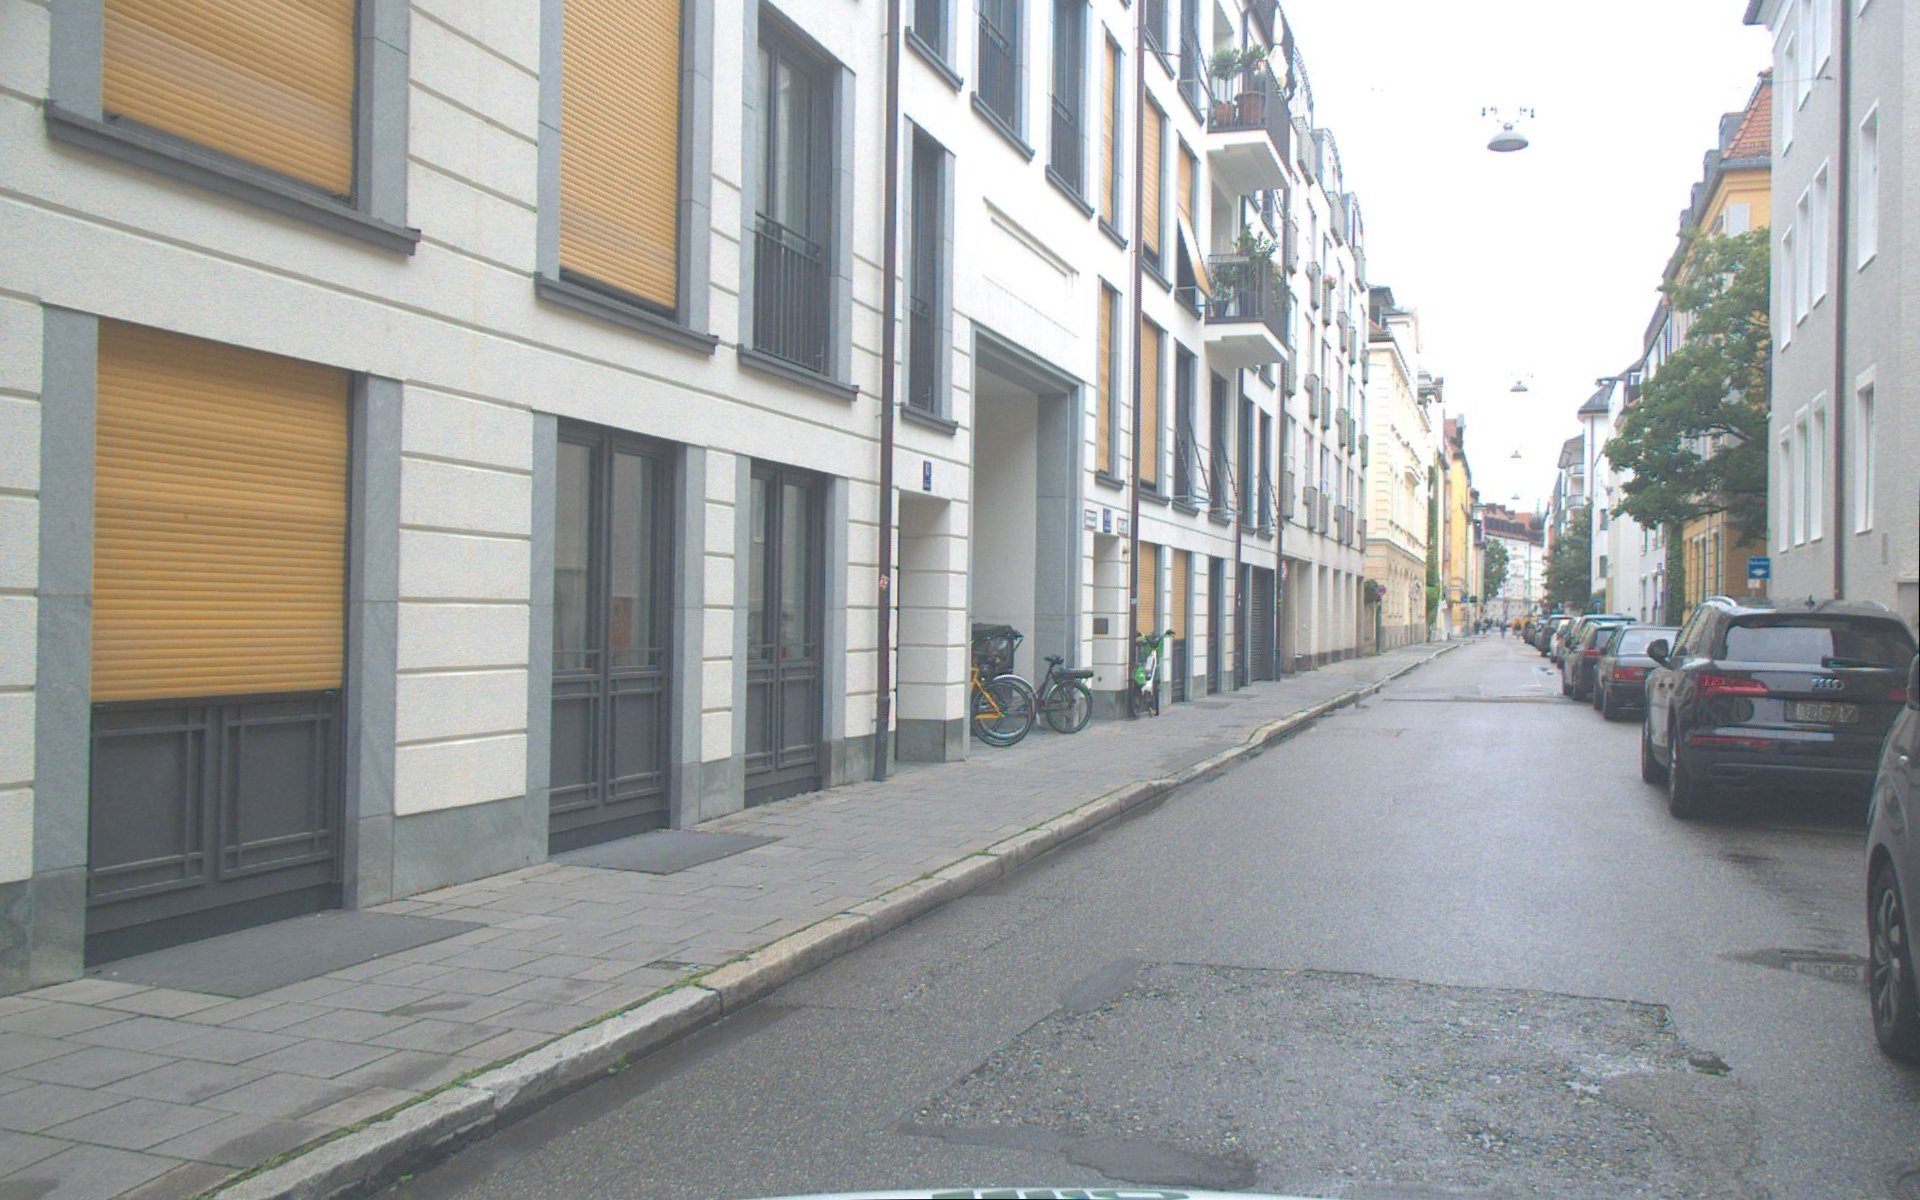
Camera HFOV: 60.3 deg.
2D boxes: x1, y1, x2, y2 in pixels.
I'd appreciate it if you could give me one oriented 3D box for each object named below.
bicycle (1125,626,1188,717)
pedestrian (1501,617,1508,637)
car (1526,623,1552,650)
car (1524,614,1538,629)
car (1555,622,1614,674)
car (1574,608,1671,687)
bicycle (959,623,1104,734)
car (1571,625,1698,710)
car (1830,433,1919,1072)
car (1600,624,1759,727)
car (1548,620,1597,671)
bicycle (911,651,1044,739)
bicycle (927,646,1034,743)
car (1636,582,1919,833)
[{"bbox_3d":[2.672,0.946,22.320,0.333,1.166,2.191,0,-2,20],"label":"bicycle"},{"bbox_3d":[46.351,2.308,140.841,0.527,1.683,0.377,0,-1,19],"label":"pedestrian"},{"bbox_3d":[42.957,2.685,122.792,1.665,1.950,3.775,1,0,18],"label":"car"},{"bbox_3d":[64.474,2.432,186.673,1.336,1.685,3.468,0,0,17],"label":"car"},{"bbox_3d":[21.073,1.587,55.886,1.665,1.652,3.775,1,0,18],"label":"car"},{"bbox_3d":[14.120,0.984,35.412,1.665,1.573,3.775,1,0,18],"label":"car"},{"bbox_3d":[0.825,0.896,18.912,1.661,1.214,0.377,2,1,-28],"label":"bicycle"},{"bbox_3d":[12.297,1.187,30.370,1.854,1.401,3.941,1,0,18],"label":"car"},{"bbox_3d":[3.583,0.474,3.819,1.952,1.965,4.662,2,0,18],"label":"car"},{"bbox_3d":[10.891,1.090,25.268,1.854,1.401,3.797,1,0,18],"label":"car"},{"bbox_3d":[24.488,1.791,66.251,1.665,1.934,3.775,1,0,18],"label":"car"},{"bbox_3d":[0.186,1.025,17.883,1.363,0.904,0.379,2,1,-15],"label":"bicycle"},{"bbox_3d":[0.216,0.981,17.185,1.045,0.964,0.307,2,1,-15],"label":"bicycle"},{"bbox_3d":[6.649,0.750,13.375,1.854,1.670,4.323,1,0,18],"label":"car"}]
